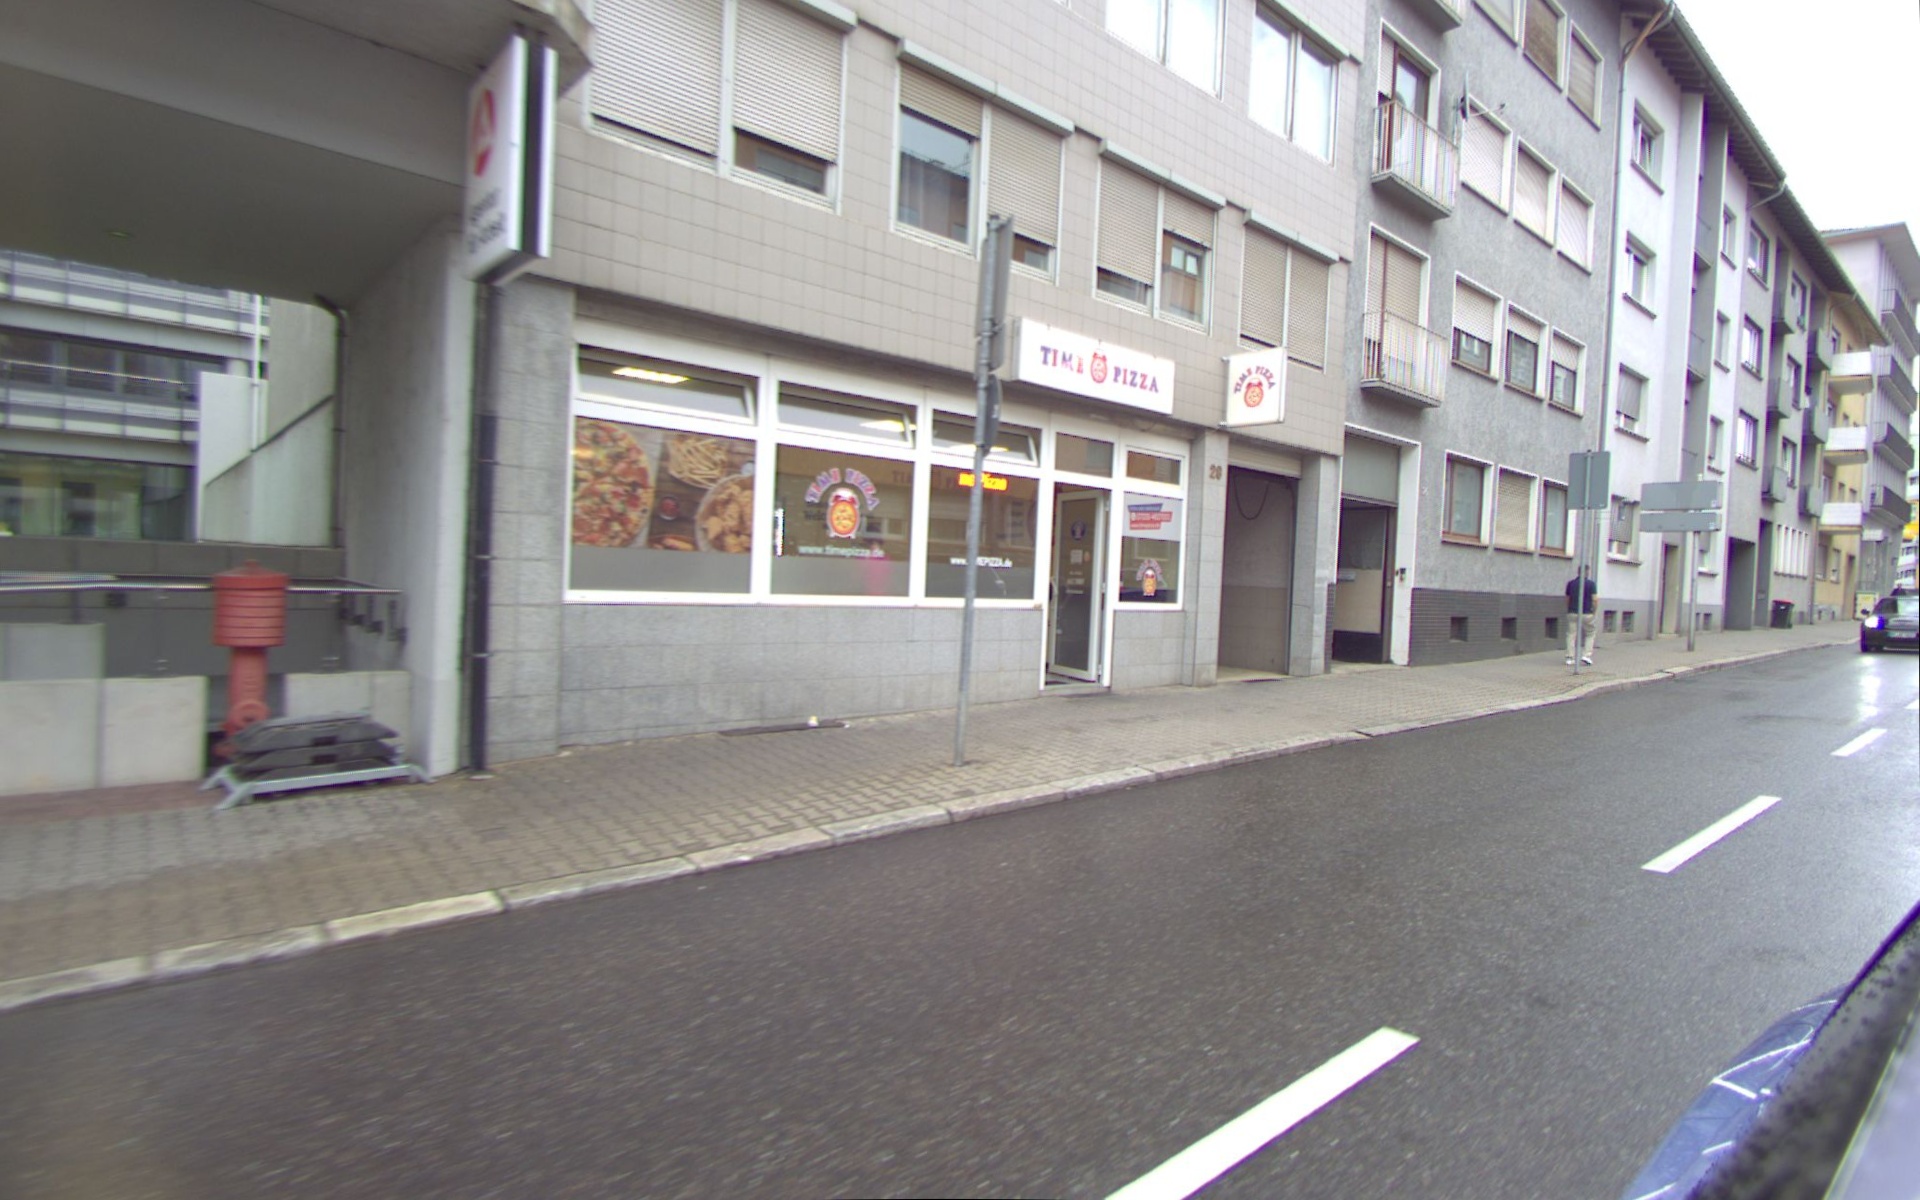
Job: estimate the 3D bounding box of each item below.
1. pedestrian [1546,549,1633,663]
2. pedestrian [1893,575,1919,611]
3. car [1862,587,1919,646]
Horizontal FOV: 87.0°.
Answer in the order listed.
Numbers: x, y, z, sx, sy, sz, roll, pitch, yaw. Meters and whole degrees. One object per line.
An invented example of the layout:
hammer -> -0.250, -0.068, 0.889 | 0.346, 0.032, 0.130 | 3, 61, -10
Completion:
pedestrian -> 11.153, 0.076, 17.928 | 1.100, 1.887, 0.871 | -1, 7, -41
pedestrian -> 48.416, -0.368, 51.648 | 1.117, 1.772, 0.946 | 3, 3, 44
car -> 24.802, 0.379, 26.040 | 4.144, 1.394, 1.854 | -2, 1, -41
